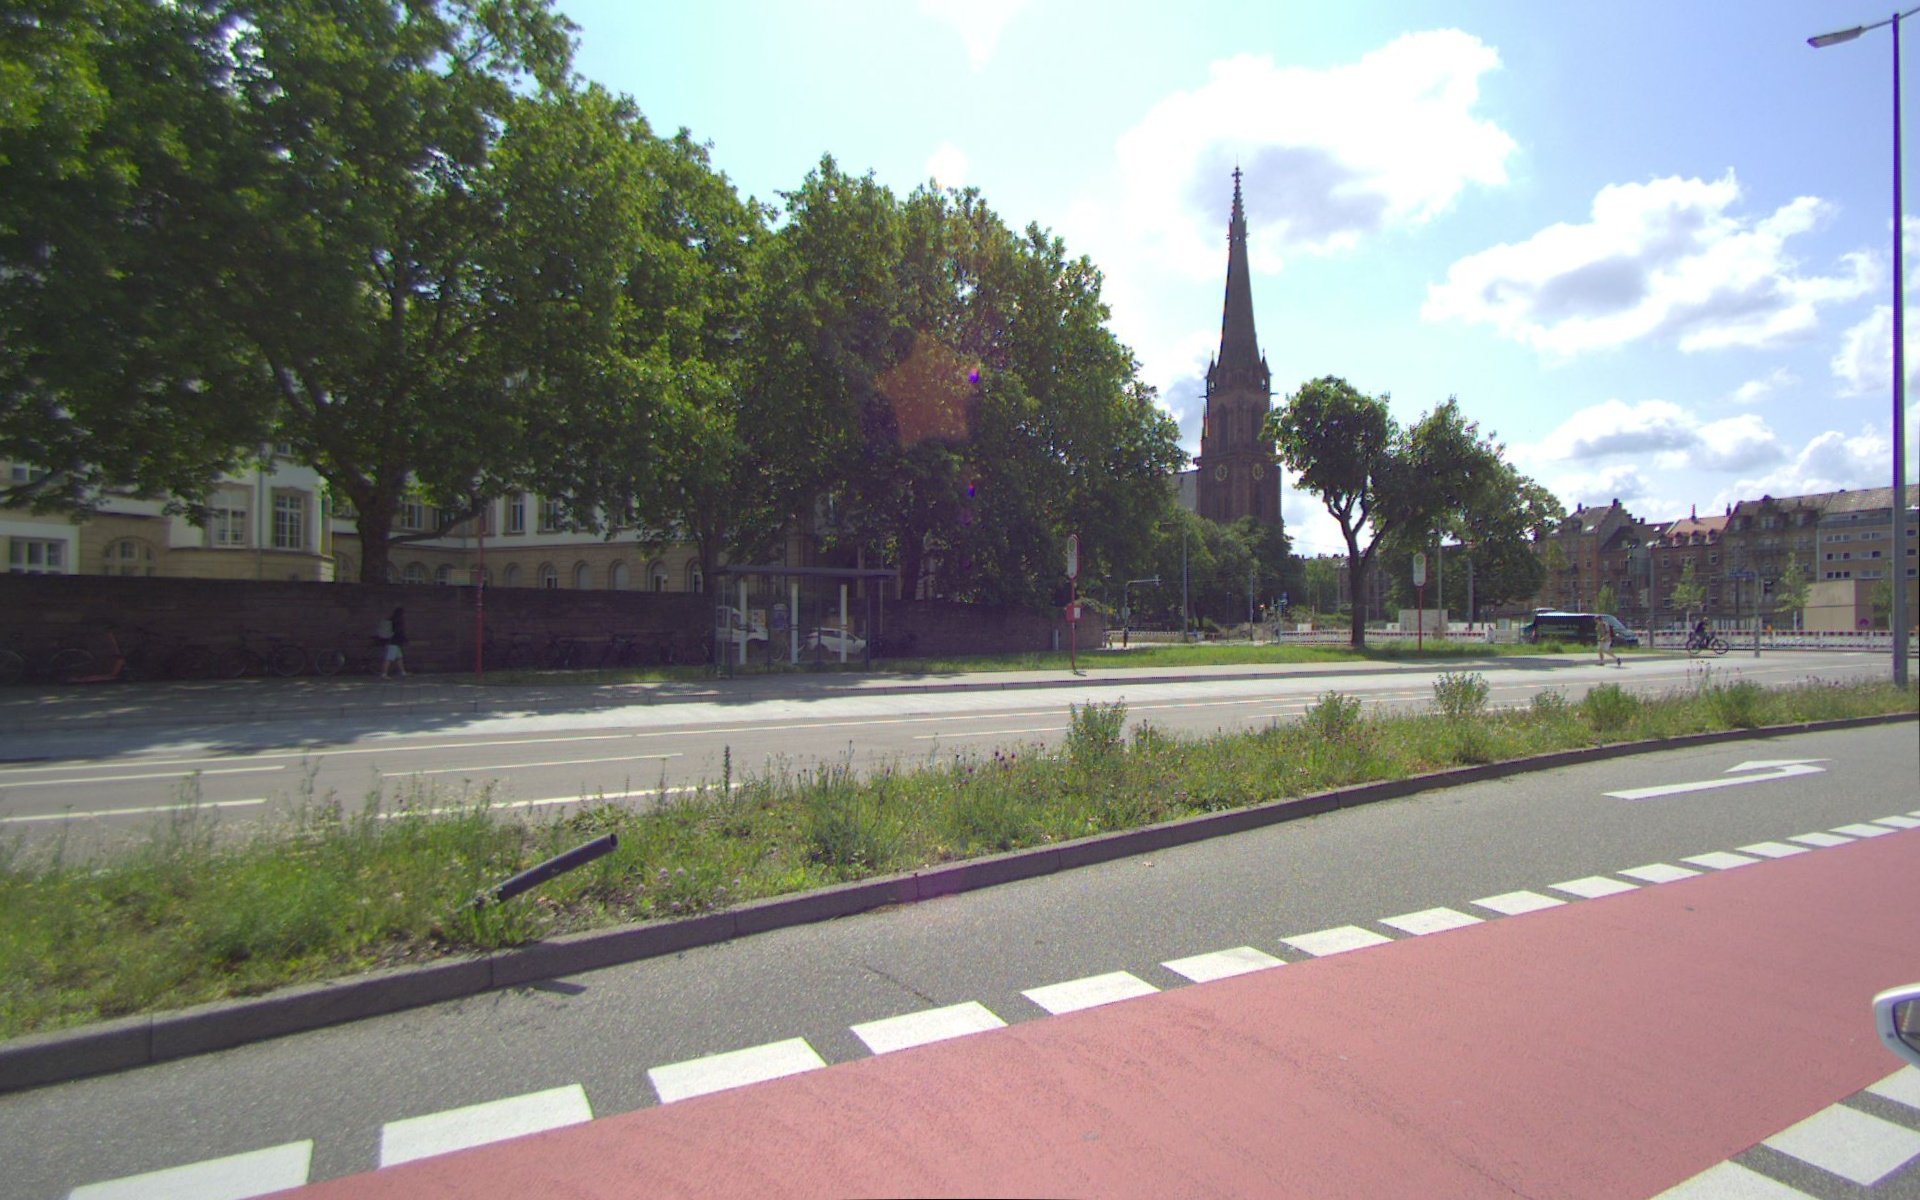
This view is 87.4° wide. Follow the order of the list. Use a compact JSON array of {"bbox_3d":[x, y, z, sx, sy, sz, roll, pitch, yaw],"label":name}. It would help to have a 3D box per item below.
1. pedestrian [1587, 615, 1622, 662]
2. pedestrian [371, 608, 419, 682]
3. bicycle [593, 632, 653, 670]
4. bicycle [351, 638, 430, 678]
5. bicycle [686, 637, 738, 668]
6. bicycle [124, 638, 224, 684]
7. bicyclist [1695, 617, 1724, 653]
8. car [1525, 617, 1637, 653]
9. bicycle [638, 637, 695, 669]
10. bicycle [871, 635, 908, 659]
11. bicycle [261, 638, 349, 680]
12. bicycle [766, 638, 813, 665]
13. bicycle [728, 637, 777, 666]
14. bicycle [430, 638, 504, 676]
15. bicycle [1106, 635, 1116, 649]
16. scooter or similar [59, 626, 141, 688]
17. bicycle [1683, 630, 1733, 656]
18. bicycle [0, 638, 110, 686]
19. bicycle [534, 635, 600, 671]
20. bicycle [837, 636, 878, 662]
[{"bbox_3d":[21.822,1.307,34.015,0.858,1.580,0.556,0,-1,9],"label":"pedestrian"},{"bbox_3d":[-12.772,0.998,22.726,0.607,1.638,0.754,1,0,39],"label":"pedestrian"},{"bbox_3d":[-9.850,1.475,29.389,0.538,1.065,1.614,-1,-1,43],"label":"bicycle"},{"bbox_3d":[-13.873,1.406,24.494,1.648,0.914,0.499,1,-1,-34],"label":"bicycle"},{"bbox_3d":[-7.950,1.671,32.232,0.537,0.914,1.658,0,-1,39],"label":"bicycle"},{"bbox_3d":[-16.812,1.284,21.510,1.653,0.914,0.538,1,-1,-42],"label":"bicycle"},{"bbox_3d":[39.619,1.860,53.121,0.587,1.869,1.112,0,-1,-34],"label":"bicyclist"},{"bbox_3d":[34.269,1.871,55.597,1.908,1.904,4.980,0,-1,-32],"label":"car"},{"bbox_3d":[-9.005,1.610,30.874,0.537,0.914,1.658,0,-1,39],"label":"bicycle"},{"bbox_3d":[-2.775,1.851,39.724,0.536,0.914,1.660,0,-1,34],"label":"bicycle"},{"bbox_3d":[-15.208,1.365,23.346,0.538,0.914,1.655,-1,-1,45],"label":"bicycle"},{"bbox_3d":[-5.948,1.788,35.071,0.446,0.914,1.786,0,-1,39],"label":"bicycle"},{"bbox_3d":[-6.930,1.716,33.582,0.537,0.914,1.658,0,-1,39],"label":"bicycle"},{"bbox_3d":[-12.771,1.469,26.054,0.538,0.914,1.655,-1,-1,44],"label":"bicycle"},{"bbox_3d":[9.739,2.709,64.913,0.534,0.914,1.666,0,-1,12],"label":"bicycle"},{"bbox_3d":[-17.241,1.125,20.145,0.426,1.199,1.188,-1,-1,39],"label":"scooter or similar"},{"bbox_3d":[39.500,2.260,53.081,0.598,1.307,2.052,1,-1,-34],"label":"bicycle"},{"bbox_3d":[-18.164,1.231,20.172,1.653,0.914,0.538,2,-2,-42],"label":"bicycle"},{"bbox_3d":[-11.000,1.476,28.157,0.538,0.964,1.656,-1,-1,43],"label":"bicycle"},{"bbox_3d":[-3.849,1.841,37.937,0.537,0.914,1.658,0,-1,39],"label":"bicycle"}]
